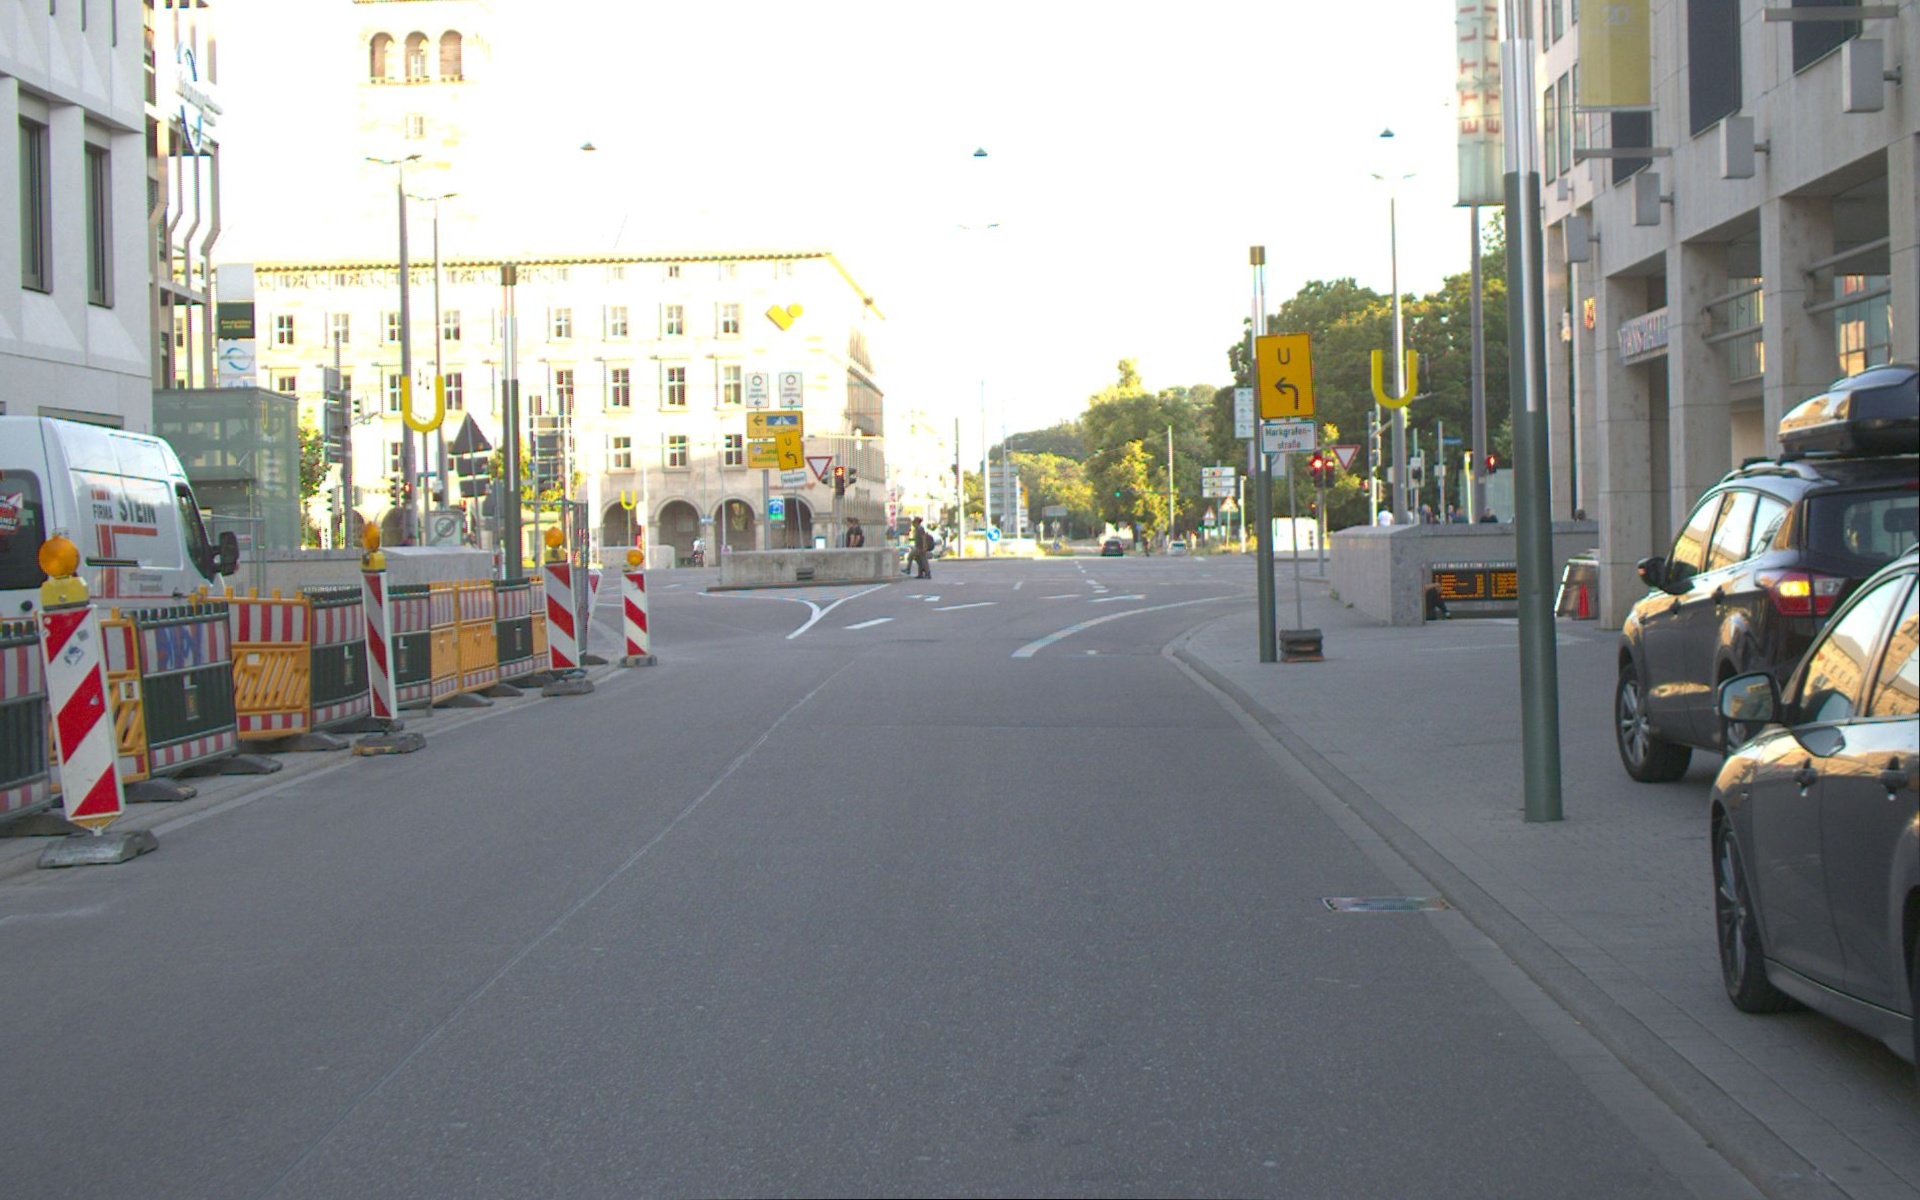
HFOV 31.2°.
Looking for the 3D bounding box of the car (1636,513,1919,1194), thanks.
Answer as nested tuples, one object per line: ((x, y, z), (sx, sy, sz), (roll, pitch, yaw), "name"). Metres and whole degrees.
((3.032, 0.509, 8.783), (1.795, 1.485, 4.193), (-4, 1, 2), "car")

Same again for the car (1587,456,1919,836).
((4.408, 0.130, 17.283), (1.768, 1.632, 4.057), (-4, 1, 2), "car")

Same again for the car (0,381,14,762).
((-7.359, -0.109, 19.460), (2.173, 2.462, 5.999), (-1, 1, 2), "car")

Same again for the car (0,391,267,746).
((-7.185, -0.282, 26.910), (2.173, 2.462, 5.999), (-1, 1, 1), "car")

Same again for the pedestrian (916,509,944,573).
((-0.850, -1.662, 96.056), (0.738, 1.771, 0.863), (0, 1, 2), "pedestrian")

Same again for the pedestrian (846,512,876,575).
((-2.838, -1.621, 98.886), (0.738, 1.770, 0.863), (-4, 1, -1), "pedestrian")

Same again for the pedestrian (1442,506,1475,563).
((15.726, -2.068, 108.401), (0.860, 1.770, 0.741), (-3, 1, 3), "pedestrian")

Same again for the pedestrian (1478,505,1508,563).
((16.691, -2.067, 107.699), (0.756, 1.770, 0.741), (-3, 1, 3), "pedestrian")

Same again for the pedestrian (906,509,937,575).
((-1.076, -1.612, 95.309), (0.738, 1.770, 0.863), (-3, 1, -3), "pedestrian")

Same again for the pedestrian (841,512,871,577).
((-2.963, -1.581, 97.666), (0.738, 1.770, 0.863), (-4, 1, -1), "pedestrian")
